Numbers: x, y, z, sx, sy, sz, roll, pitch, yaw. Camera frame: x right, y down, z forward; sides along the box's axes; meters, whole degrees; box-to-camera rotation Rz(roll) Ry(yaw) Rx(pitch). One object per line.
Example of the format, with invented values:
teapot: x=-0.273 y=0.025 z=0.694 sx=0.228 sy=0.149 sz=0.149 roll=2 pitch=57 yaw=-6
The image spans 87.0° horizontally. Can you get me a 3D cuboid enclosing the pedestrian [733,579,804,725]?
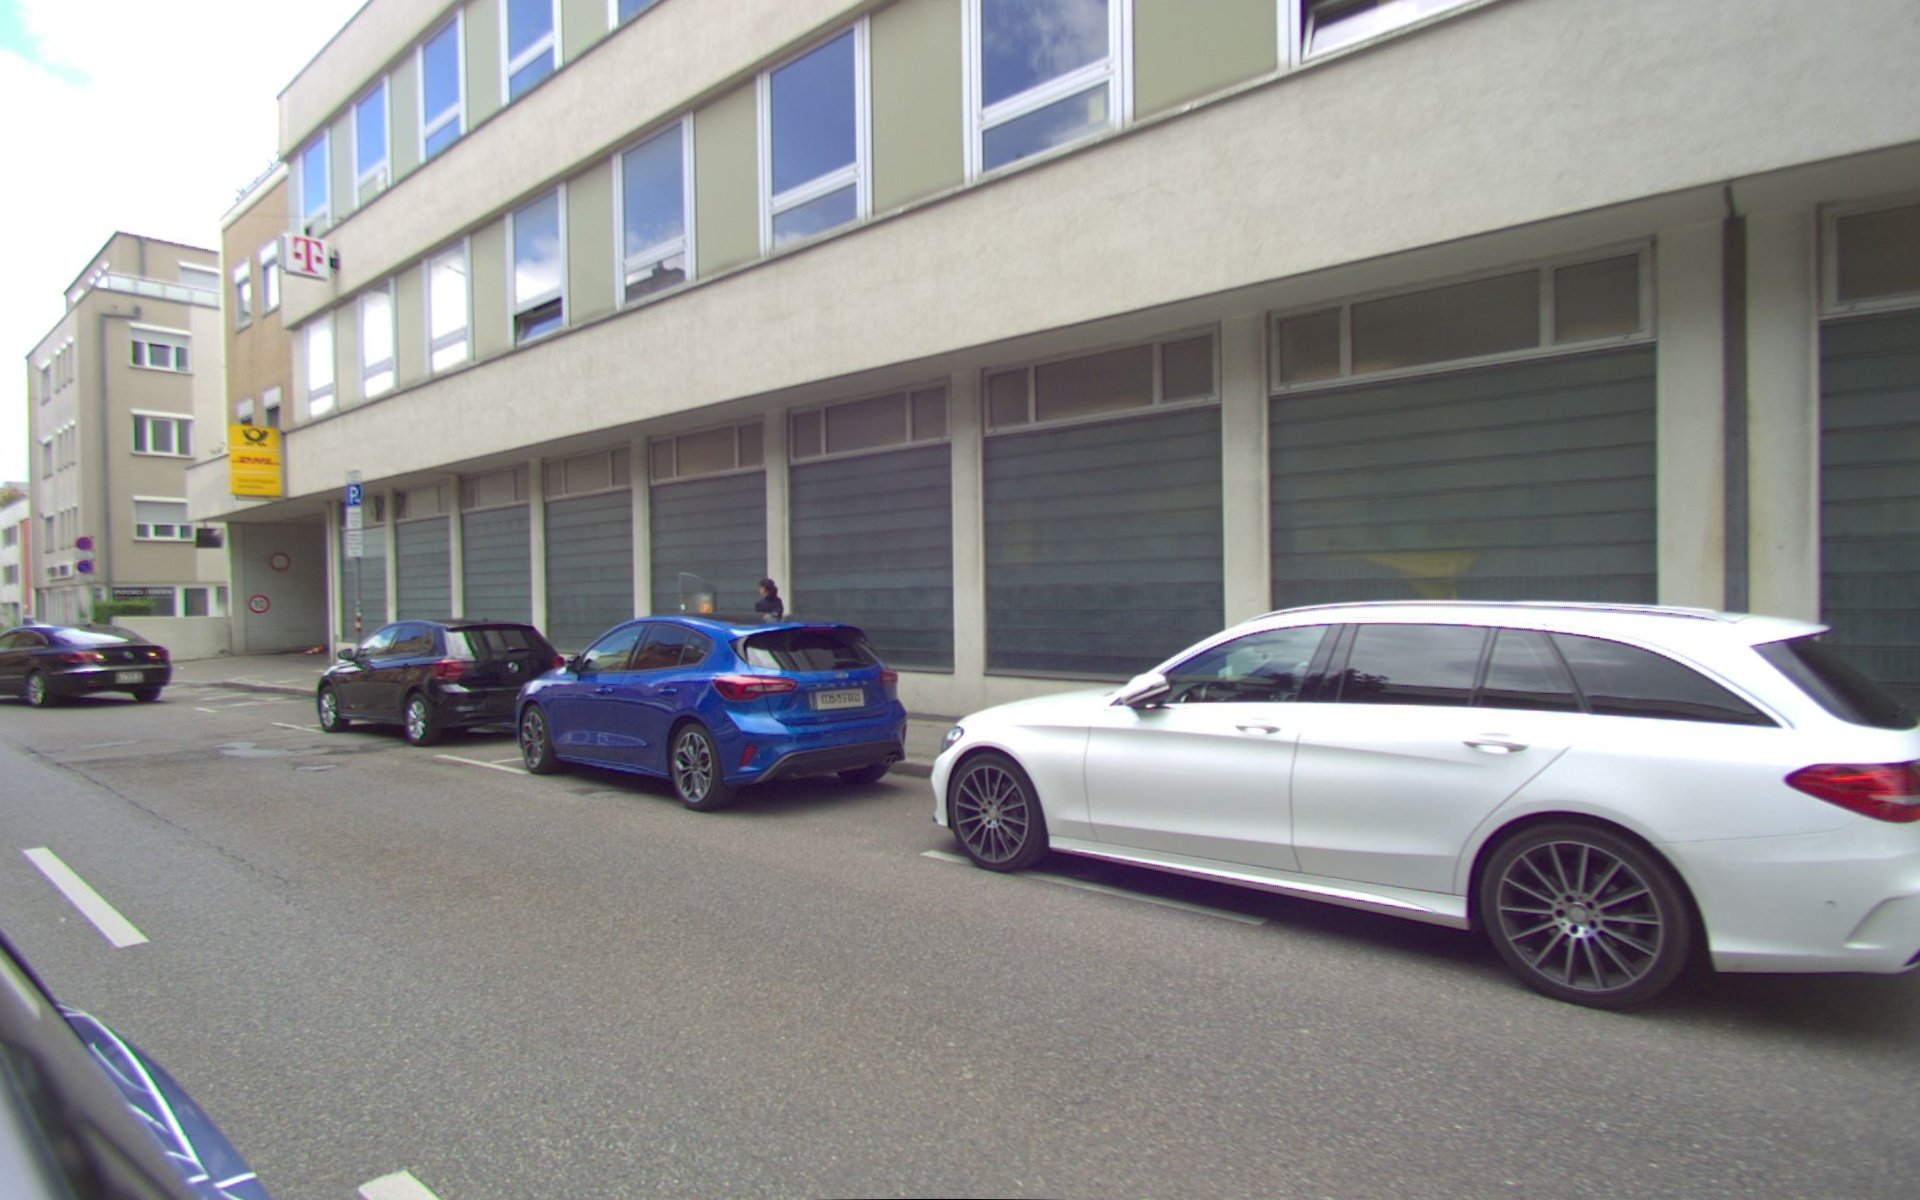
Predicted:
pedestrian: x=-2.331 y=0.618 z=12.343 sx=0.643 sy=1.731 sz=0.589 roll=-1 pitch=-1 yaw=13

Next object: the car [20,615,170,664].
car: x=-39.462 y=1.749 z=46.250 sx=1.966 sy=2.013 sz=5.016 roll=-2 pitch=0 yaw=42

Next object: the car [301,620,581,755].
car: x=-6.559 y=0.978 z=12.650 sx=3.866 sy=1.436 sz=1.699 roll=-1 pitch=-2 yaw=39

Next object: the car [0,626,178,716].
car: x=-16.276 y=1.211 z=18.105 sx=4.424 sy=1.409 sz=1.645 roll=-1 pitch=0 yaw=23

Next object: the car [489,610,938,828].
car: x=-2.332 y=0.842 z=8.824 sx=4.264 sy=1.436 sz=1.795 roll=-2 pitch=-2 yaw=44

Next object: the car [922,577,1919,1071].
car: x=2.011 y=0.703 z=4.838 sx=4.552 sy=1.445 sz=1.652 roll=-2 pitch=-2 yaw=43
